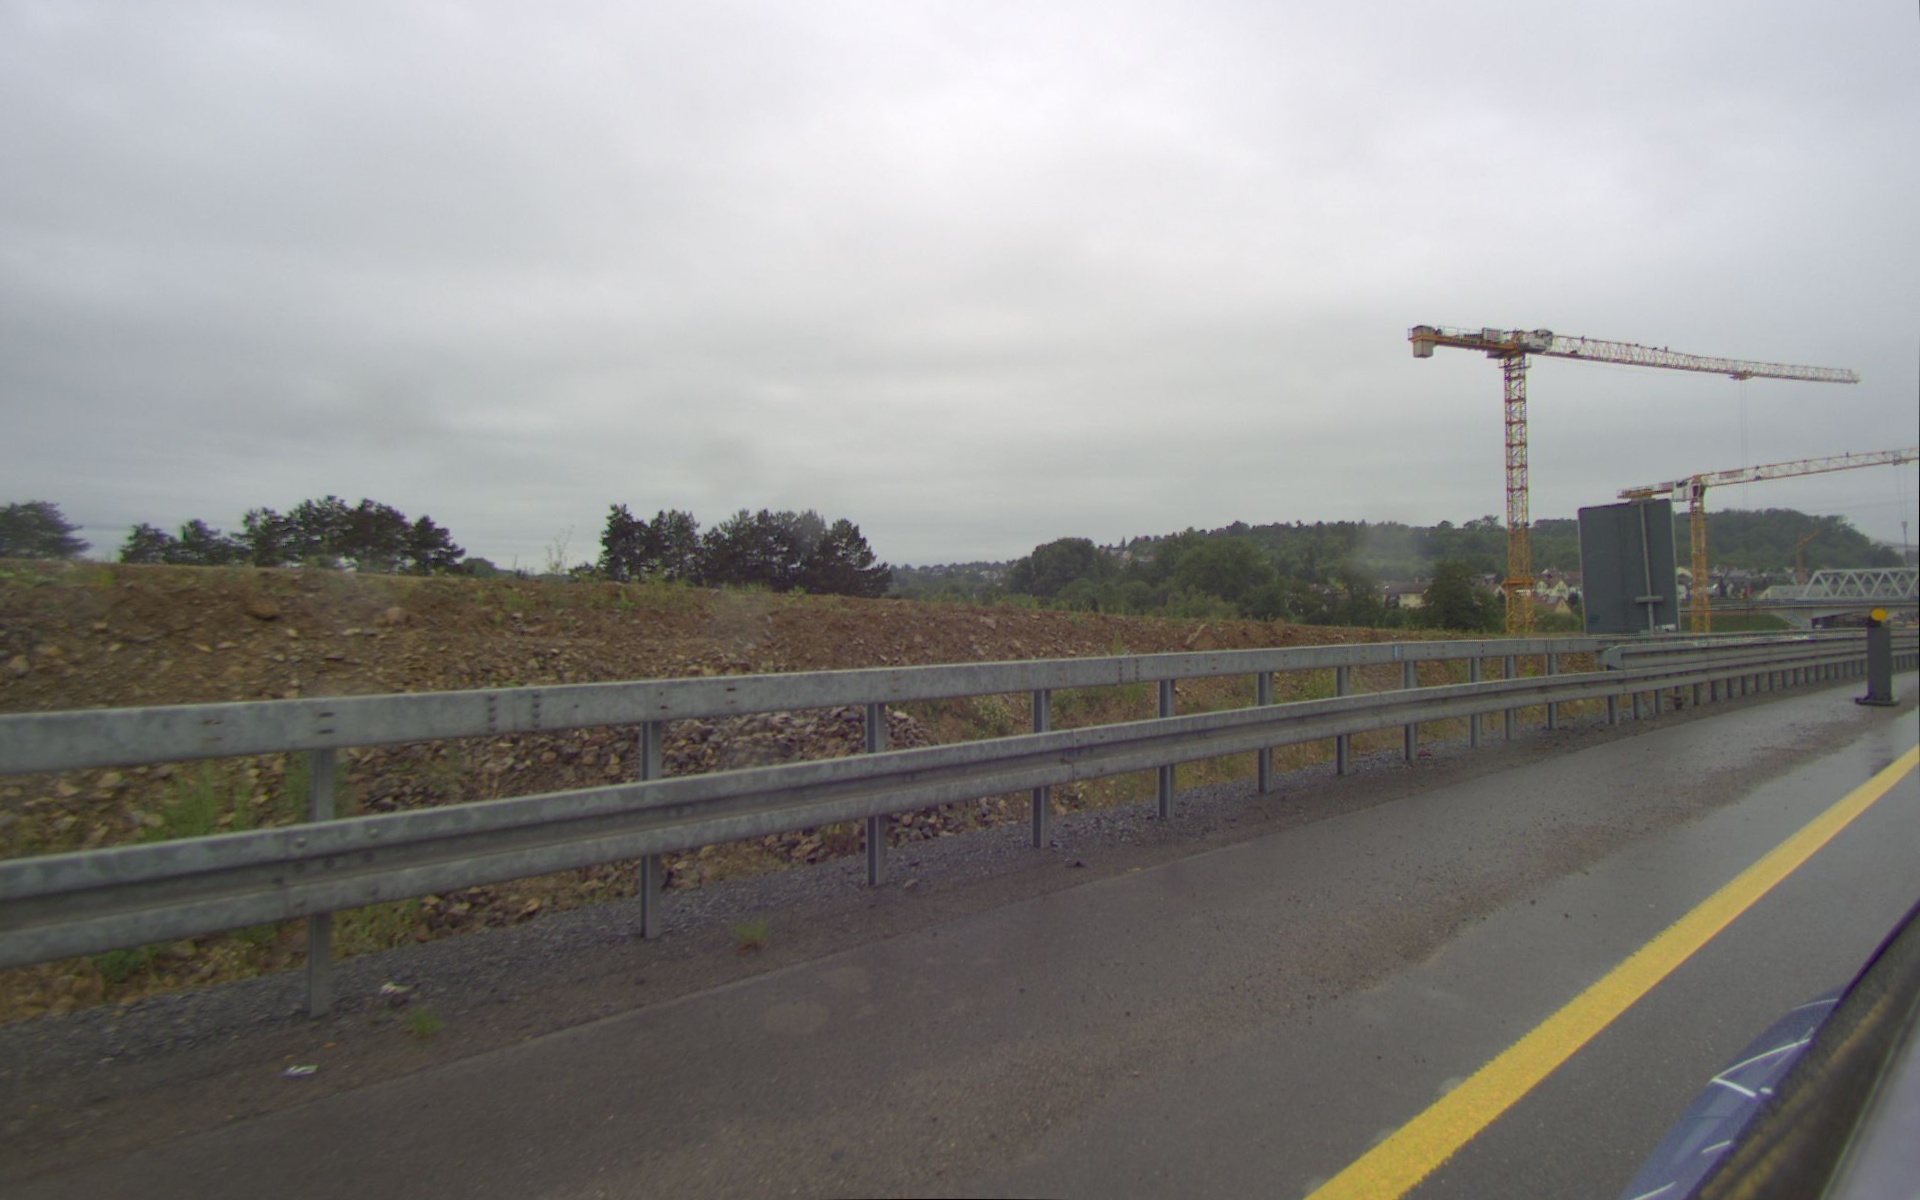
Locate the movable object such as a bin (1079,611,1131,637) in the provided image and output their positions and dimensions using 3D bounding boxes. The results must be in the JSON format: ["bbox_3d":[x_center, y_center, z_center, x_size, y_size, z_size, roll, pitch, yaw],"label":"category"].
[{"bbox_3d":[7.634,1.258,53.234,2.662,1.318,1.388,0,0,-45],"label":"movable object such as a bin"}]
